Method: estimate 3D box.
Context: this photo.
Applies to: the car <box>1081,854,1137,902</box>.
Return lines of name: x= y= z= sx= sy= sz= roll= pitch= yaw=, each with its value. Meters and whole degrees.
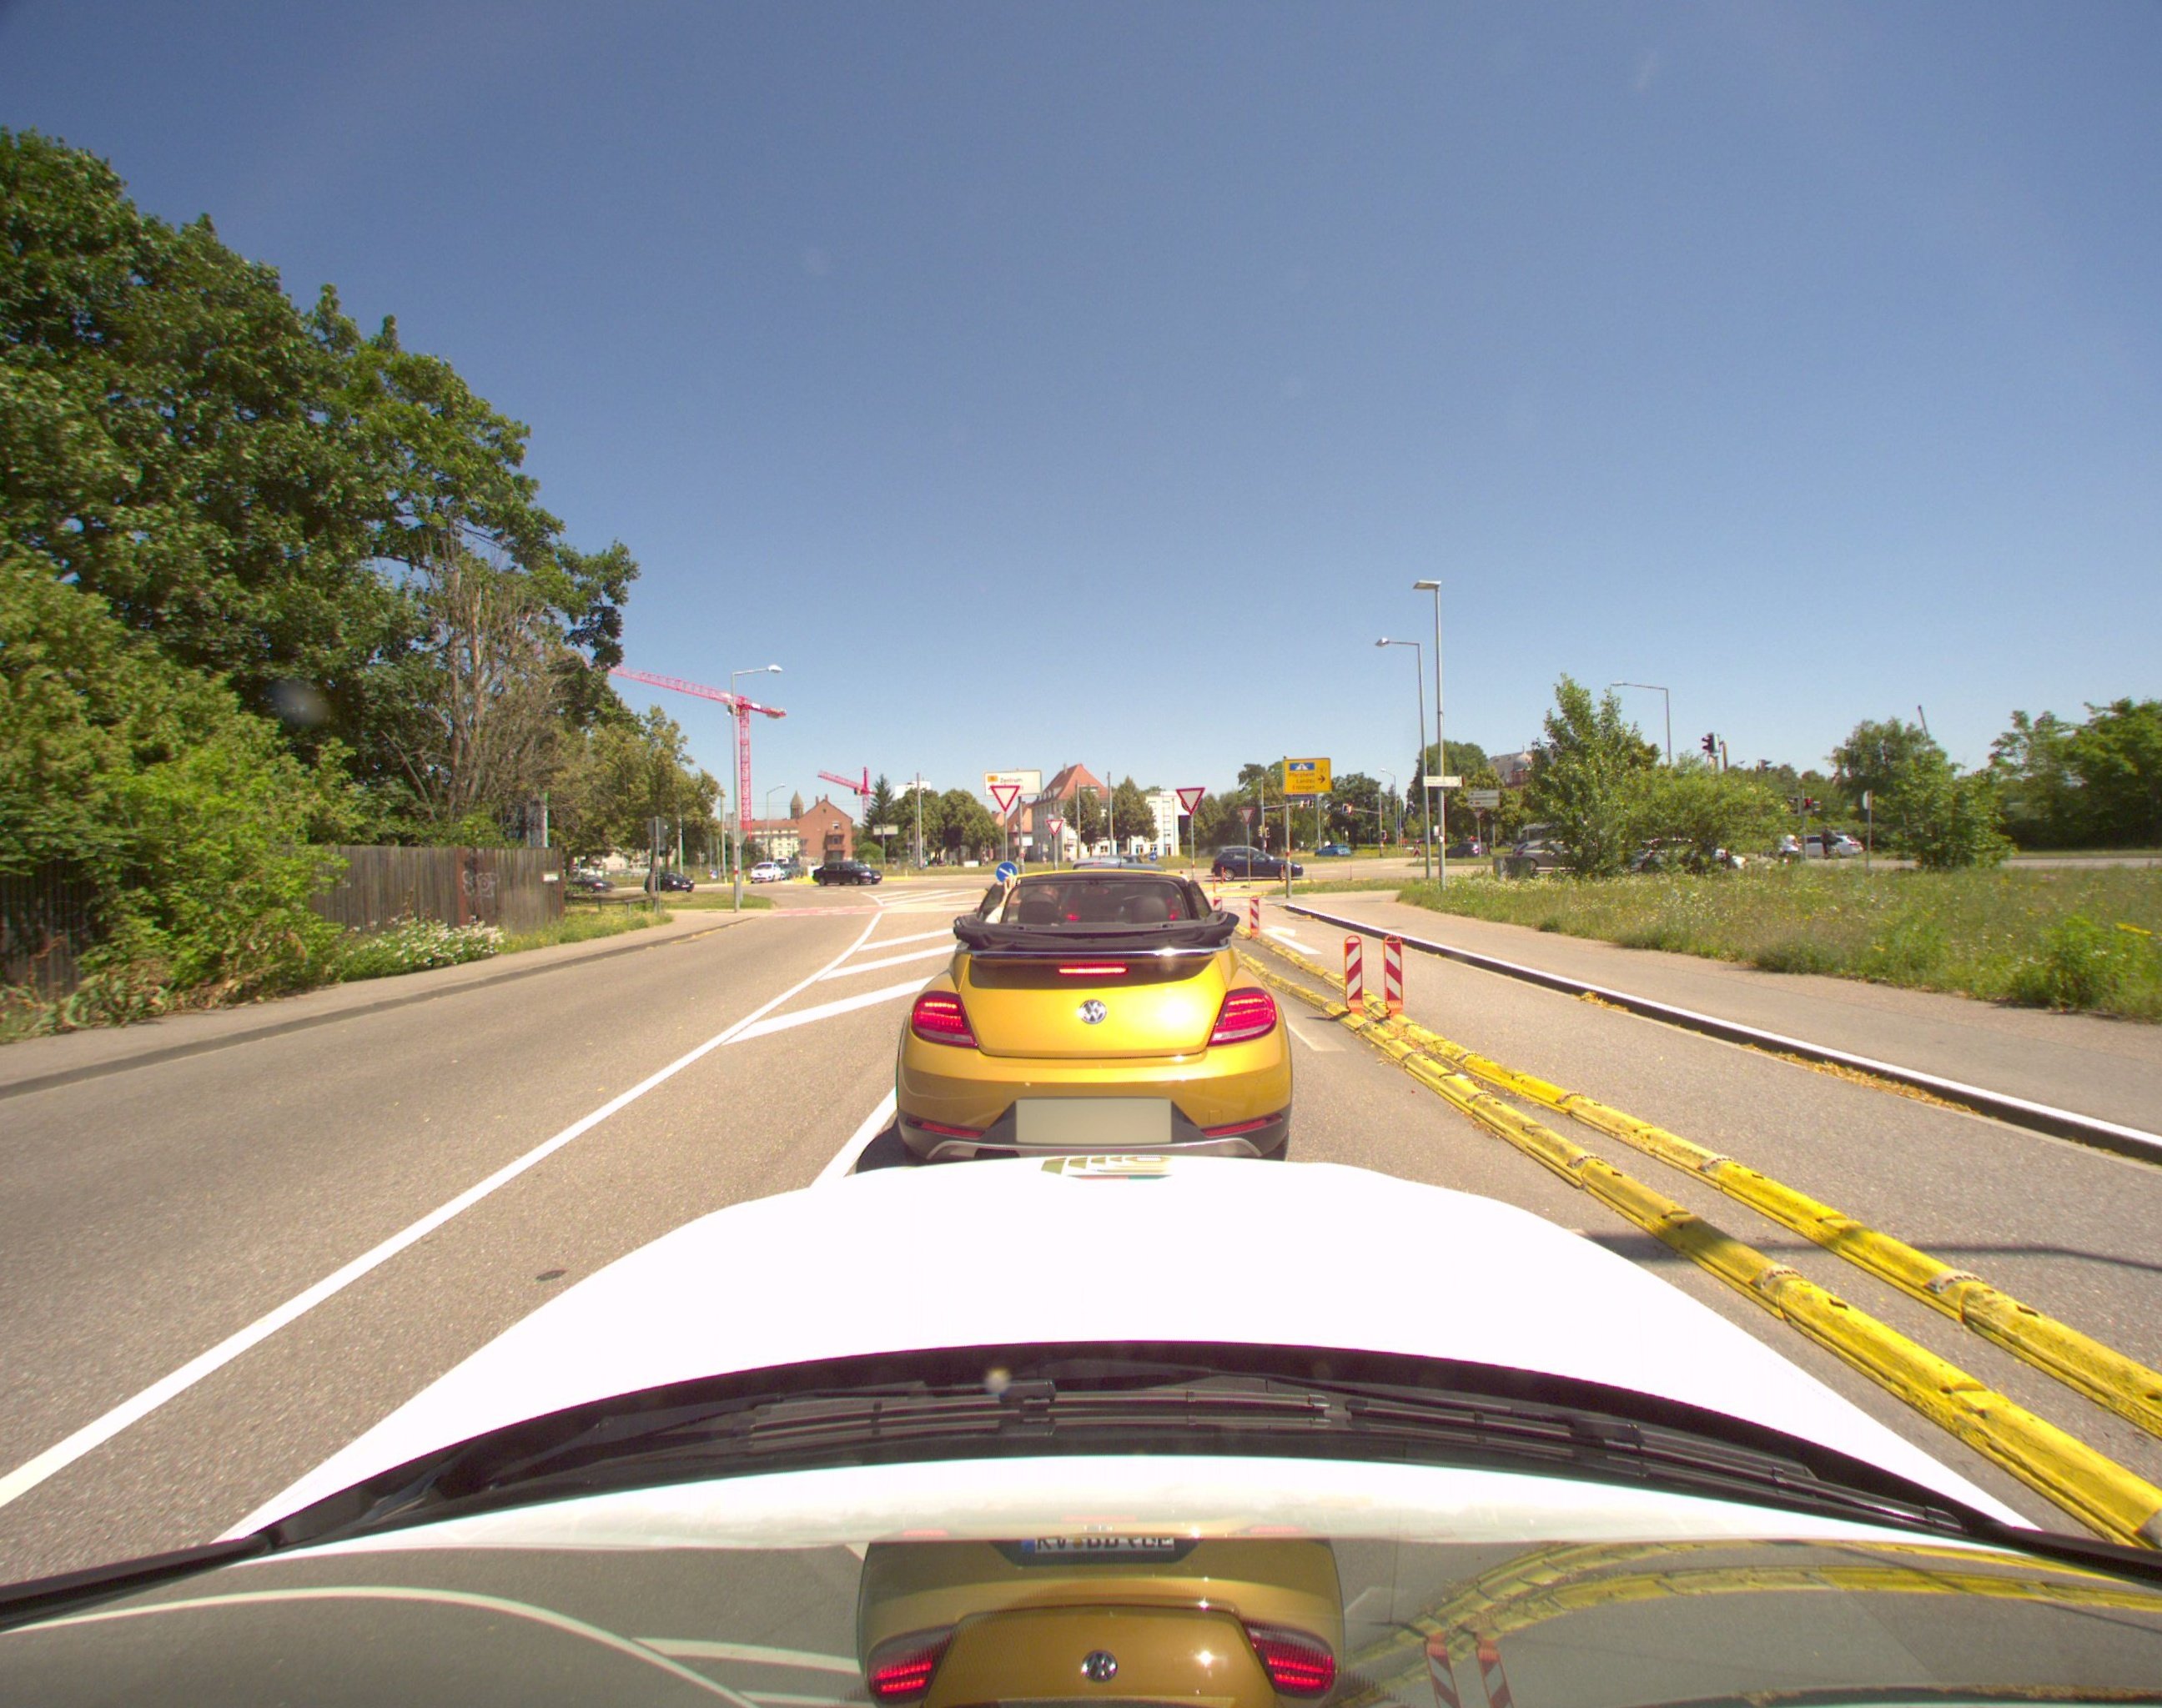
car: x=0.943 y=0.759 z=27.613 sx=1.730 sy=1.477 sz=4.002 roll=-1 pitch=0 yaw=2

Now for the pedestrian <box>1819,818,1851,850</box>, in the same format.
pedestrian: x=37.810 y=-1.016 z=40.845 sx=0.789 sy=1.563 sz=0.823 roll=-1 pitch=0 yaw=3

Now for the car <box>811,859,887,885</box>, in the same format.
car: x=-13.956 y=1.095 z=48.875 sx=4.474 sy=1.447 sz=1.834 roll=-1 pitch=0 yaw=31

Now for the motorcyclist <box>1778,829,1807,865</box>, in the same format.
motorcyclist: x=25.827 y=-0.252 z=29.564 sx=0.616 sy=1.289 sz=0.576 roll=-1 pitch=-1 yaw=-27

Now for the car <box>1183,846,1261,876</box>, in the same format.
car: x=7.417 y=0.373 z=43.174 sx=3.965 sy=1.496 sz=1.805 roll=-1 pitch=0 yaw=8

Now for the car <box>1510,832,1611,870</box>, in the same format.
car: x=23.203 y=-0.154 z=39.600 sx=3.952 sy=1.496 sz=1.656 roll=-5 pitch=-1 yaw=22

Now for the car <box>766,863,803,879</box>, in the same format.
car: x=-25.206 y=1.445 z=69.348 sx=1.700 sy=1.236 sz=3.788 roll=-1 pitch=0 yaw=2

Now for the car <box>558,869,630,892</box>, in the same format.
car: x=-36.487 y=1.962 z=61.003 sx=4.894 sy=1.656 sz=2.011 roll=-1 pitch=0 yaw=22

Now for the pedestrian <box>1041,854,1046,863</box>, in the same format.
pedestrian: x=-5.410 y=0.617 z=117.379 sx=0.677 sy=1.230 sz=0.496 roll=-1 pitch=-1 yaw=-17

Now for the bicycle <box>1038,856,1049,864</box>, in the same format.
bicycle: x=-5.372 y=0.904 z=117.387 sx=1.469 sy=1.071 sz=0.496 roll=-1 pitch=0 yaw=-17

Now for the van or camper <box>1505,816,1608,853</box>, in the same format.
van or camper: x=37.673 y=-1.463 z=64.936 sx=2.510 sy=2.693 sz=7.473 roll=-1 pitch=0 yaw=-15

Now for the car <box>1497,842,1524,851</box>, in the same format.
car: x=79.421 y=-1.395 z=150.558 sx=3.993 sy=1.714 sz=1.990 roll=-1 pitch=0 yaw=-15

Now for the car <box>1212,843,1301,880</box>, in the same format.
car: x=8.244 y=0.353 z=38.533 sx=3.976 sy=1.620 sz=1.741 roll=-1 pitch=0 yaw=8

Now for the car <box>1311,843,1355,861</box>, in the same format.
car: x=27.118 y=-0.219 z=87.686 sx=2.011 sy=1.838 sz=3.952 roll=-1 pitch=0 yaw=-41

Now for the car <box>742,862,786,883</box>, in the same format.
car: x=-24.634 y=1.424 z=63.490 sx=1.749 sy=1.549 sz=4.002 roll=-1 pitch=0 yaw=2

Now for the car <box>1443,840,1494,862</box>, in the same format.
car: x=29.551 y=-0.211 z=62.171 sx=3.186 sy=1.606 sz=1.661 roll=-1 pitch=0 yaw=38

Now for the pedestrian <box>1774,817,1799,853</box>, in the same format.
pedestrian: x=36.622 y=-0.987 z=42.289 sx=0.647 sy=1.870 sz=0.737 roll=-1 pitch=0 yaw=3

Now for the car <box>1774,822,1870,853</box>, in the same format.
car: x=44.531 y=-0.939 z=49.012 sx=1.746 sy=1.728 sz=3.955 roll=-1 pitch=0 yaw=-36

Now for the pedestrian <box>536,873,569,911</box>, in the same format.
pedestrian: x=-22.328 y=1.593 z=34.410 sx=0.866 sy=1.563 sz=0.815 roll=-1 pitch=-1 yaw=24

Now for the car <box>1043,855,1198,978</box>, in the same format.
car: x=0.545 y=0.759 z=11.796 sx=1.841 sy=1.442 sz=4.002 roll=-1 pitch=0 yaw=2

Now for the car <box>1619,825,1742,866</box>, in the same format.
car: x=25.009 y=-0.328 z=34.142 sx=3.961 sy=1.620 sz=1.691 roll=-1 pitch=0 yaw=30

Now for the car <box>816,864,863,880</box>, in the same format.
car: x=-23.443 y=1.734 z=79.200 sx=1.690 sy=1.500 sz=4.247 roll=-1 pitch=0 yaw=34

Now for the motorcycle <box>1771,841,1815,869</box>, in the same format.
motorcycle: x=25.807 y=0.036 z=29.518 sx=1.712 sy=0.970 sz=0.625 roll=-1 pitch=0 yaw=-28

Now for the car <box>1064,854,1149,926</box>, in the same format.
car: x=0.586 y=0.752 z=18.814 sx=1.730 sy=1.442 sz=4.002 roll=-1 pitch=0 yaw=2

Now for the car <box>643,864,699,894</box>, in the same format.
car: x=-26.679 y=1.599 z=52.949 sx=3.950 sy=1.816 sz=2.012 roll=-1 pitch=0 yaw=44

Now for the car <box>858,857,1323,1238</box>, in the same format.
car: x=0.085 y=0.744 z=4.992 sx=1.746 sy=1.422 sz=3.778 roll=-1 pitch=0 yaw=1
